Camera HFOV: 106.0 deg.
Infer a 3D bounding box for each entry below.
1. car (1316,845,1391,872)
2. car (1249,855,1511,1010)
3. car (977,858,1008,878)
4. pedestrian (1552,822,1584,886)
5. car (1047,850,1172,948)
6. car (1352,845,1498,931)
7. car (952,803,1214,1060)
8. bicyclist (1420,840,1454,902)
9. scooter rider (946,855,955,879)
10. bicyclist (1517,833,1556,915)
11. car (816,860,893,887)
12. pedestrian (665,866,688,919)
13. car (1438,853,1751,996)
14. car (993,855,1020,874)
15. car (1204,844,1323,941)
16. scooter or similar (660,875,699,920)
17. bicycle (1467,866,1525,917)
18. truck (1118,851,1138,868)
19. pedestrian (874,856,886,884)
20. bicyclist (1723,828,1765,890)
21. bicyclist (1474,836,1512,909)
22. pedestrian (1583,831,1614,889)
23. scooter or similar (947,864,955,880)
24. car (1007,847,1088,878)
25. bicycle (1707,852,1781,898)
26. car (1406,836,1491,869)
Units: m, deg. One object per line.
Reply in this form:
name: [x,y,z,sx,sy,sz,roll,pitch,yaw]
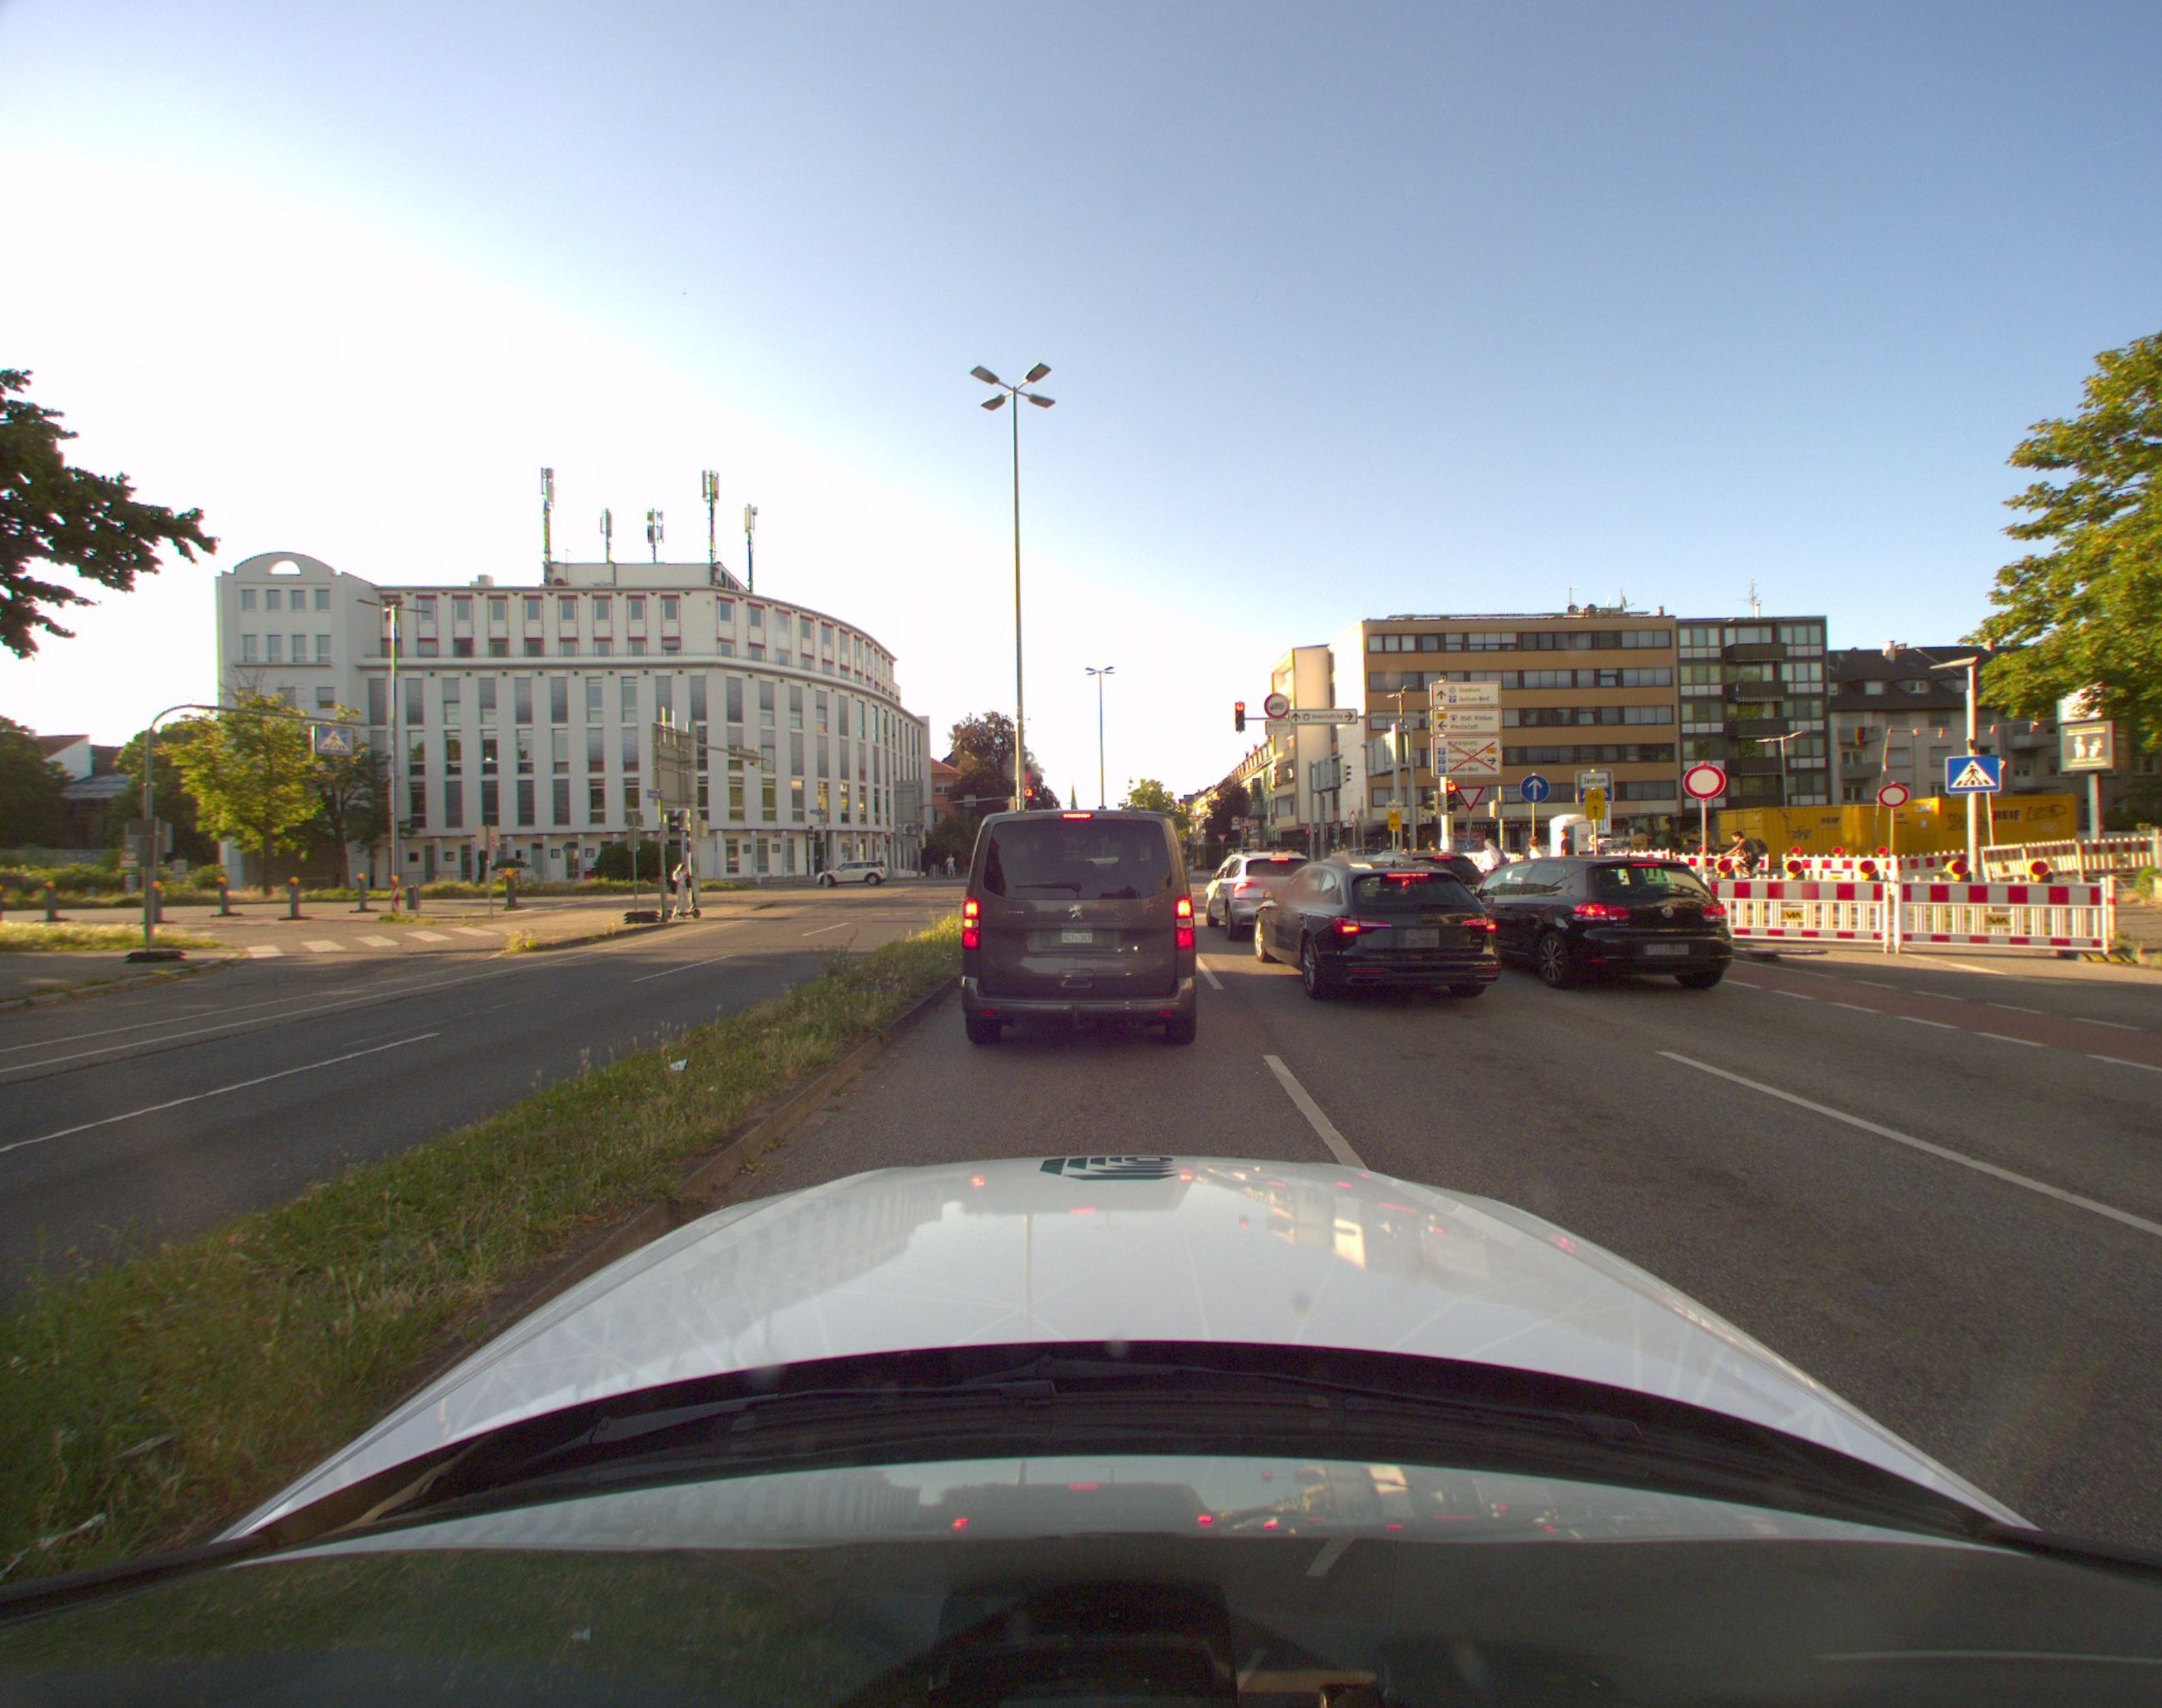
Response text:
car: [15.603,0.250,46.722,3.667,1.387,1.694,-3,0,-4]
car: [3.196,0.733,9.642,1.675,1.421,4.215,0,0,2]
car: [-6.832,1.036,63.087,1.850,1.420,4.000,-2,0,0]
pedestrian: [14.183,0.007,23.716,0.570,1.834,0.485,-2,0,-14]
car: [0.517,0.727,15.211,1.986,1.530,4.002,-2,0,2]
car: [6.543,0.589,15.829,1.499,1.449,3.306,-2,0,2]
car: [0.082,0.559,8.187,1.900,1.863,4.528,0,0,2]
bicyclist: [8.992,0.422,20.595,0.511,1.525,0.725,-2,0,1]
scooter rider: [-9.501,0.952,59.192,0.479,1.697,0.636,-2,0,1]
bicyclist: [8.658,0.376,15.506,0.439,1.525,0.482,-2,0,1]
car: [-13.092,1.094,47.292,3.979,1.420,1.785,-2,0,-4]
pedestrian: [-11.661,1.101,23.491,0.474,1.505,0.334,-2,0,-10]
car: [6.014,0.712,10.111,1.627,1.449,3.746,0,0,2]
car: [-6.235,0.859,68.751,1.850,1.420,4.000,-2,0,0]
car: [3.313,0.642,15.408,1.523,1.613,3.746,0,0,2]
scooter or similar: [-11.468,1.235,23.293,0.893,1.234,0.370,-2,0,-10]
bicycle: [8.926,0.780,17.575,0.335,1.008,1.856,-2,0,2]
truck: [6.040,0.656,104.465,2.115,2.086,4.643,-2,0,9]
pedestrian: [-12.801,1.010,51.847,0.626,1.722,0.668,-2,0,-12]
bicyclist: [17.245,0.122,21.194,0.804,1.589,0.624,0,1,34]
bicyclist: [8.926,0.395,17.659,0.439,1.525,0.725,-2,0,2]
pedestrian: [15.171,0.180,23.889,0.603,1.671,0.451,-1,0,-19]
scooter or similar: [-9.445,1.304,59.166,0.284,1.188,1.170,-2,0,2]
car: [-1.864,0.440,44.689,4.334,1.549,1.784,-2,0,-7]
bicycle: [17.225,0.535,21.190,1.480,1.161,0.376,0,1,36]
car: [22.076,-0.088,48.997,4.209,1.817,1.996,-2,0,-6]
